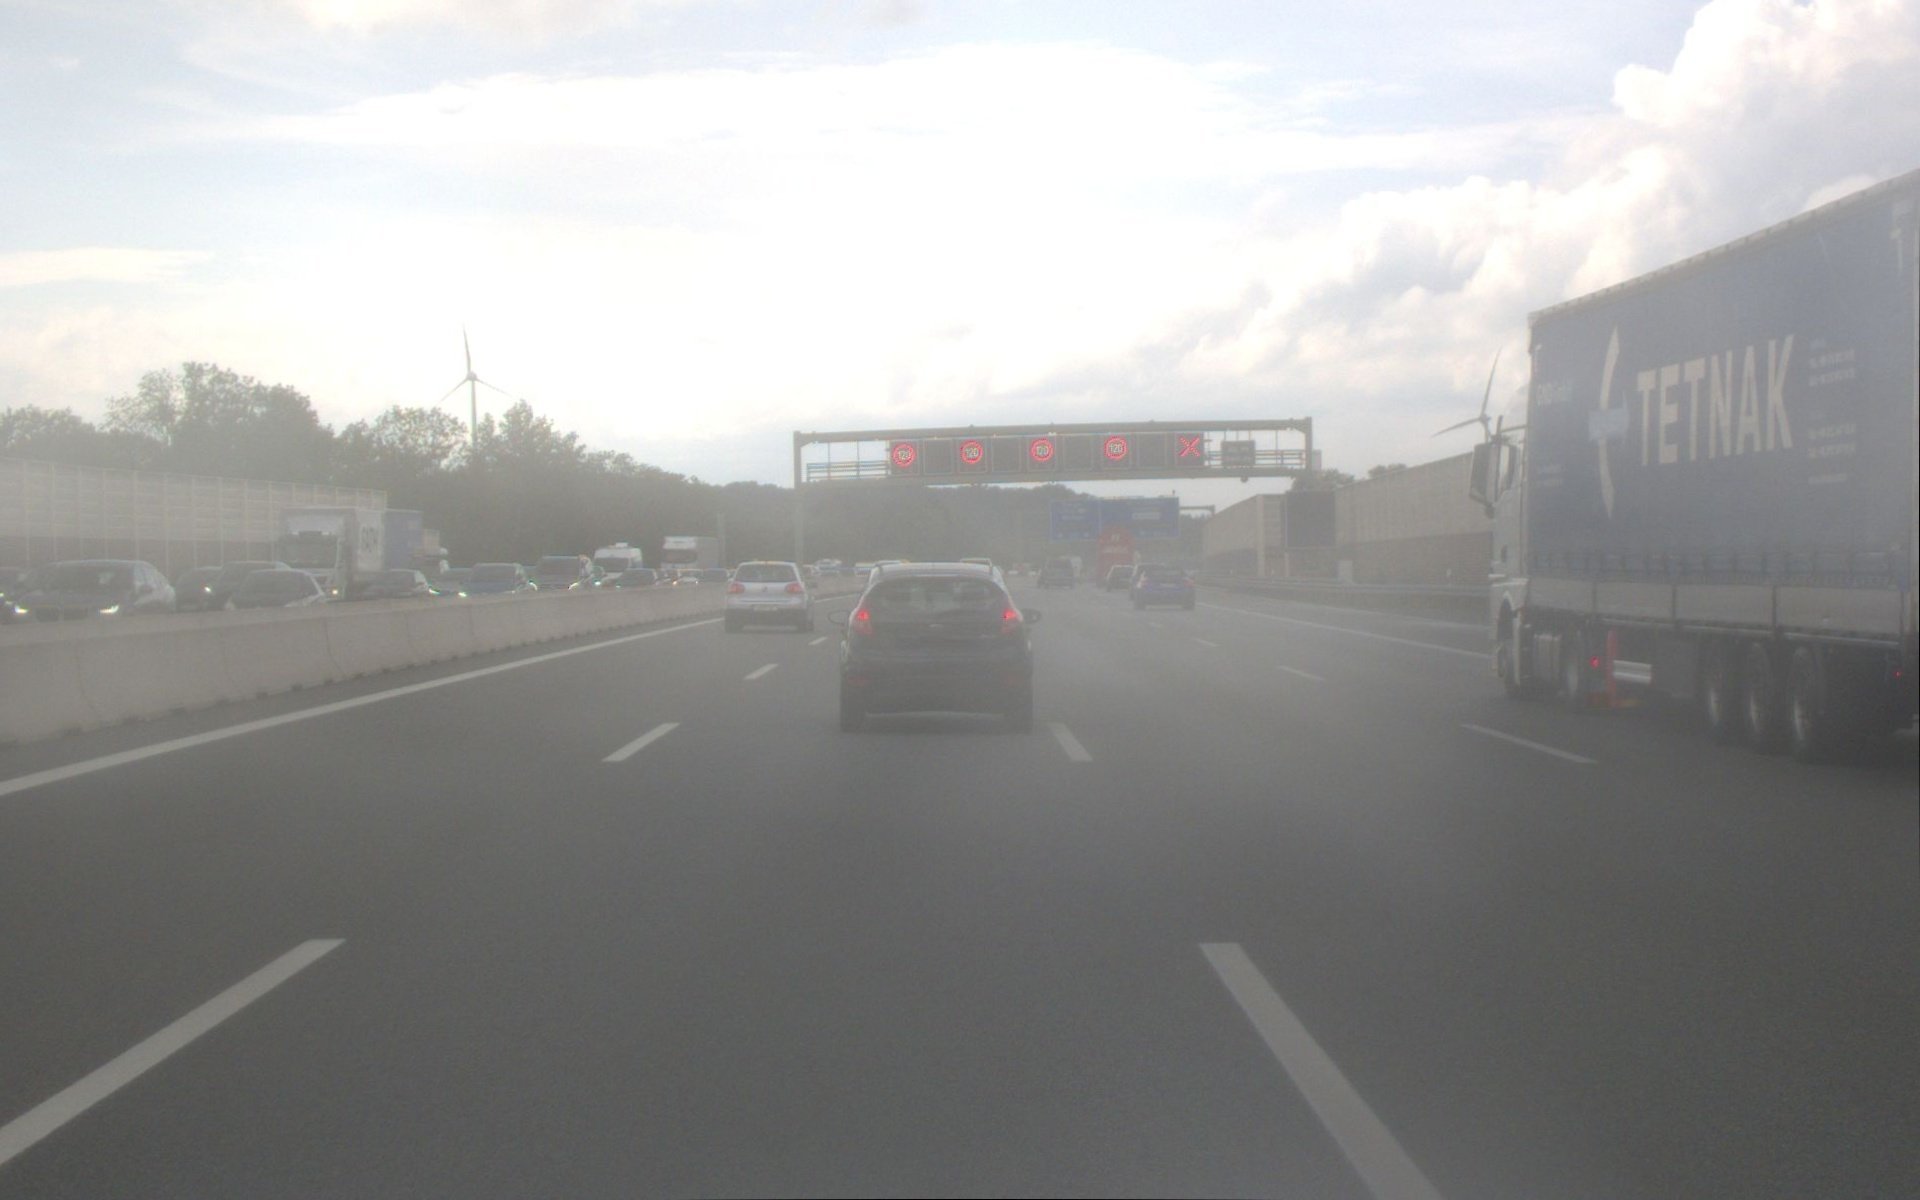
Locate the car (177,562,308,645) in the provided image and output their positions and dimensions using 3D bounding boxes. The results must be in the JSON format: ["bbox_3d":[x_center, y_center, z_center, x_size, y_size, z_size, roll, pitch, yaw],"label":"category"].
[{"bbox_3d":[-15.184,0.054,72.941,1.955,1.694,4.411,0,1,-2],"label":"car"}]

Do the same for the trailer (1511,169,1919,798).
[{"bbox_3d":[7.356,-0.789,29.225,2.761,4.018,14.453,0,0,-1],"label":"trailer"}]

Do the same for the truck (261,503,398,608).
[{"bbox_3d":[-22.166,-1.546,121.408,2.696,3.515,9.995,1,0,1],"label":"truck"}]

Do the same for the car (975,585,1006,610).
[{"bbox_3d":[1.982,-0.127,220.914,1.968,1.555,4.433,0,-1,1],"label":"car"}]

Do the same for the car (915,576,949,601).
[{"bbox_3d":[-1.761,-0.724,220.213,1.968,1.555,4.432,0,-1,2],"label":"car"}]

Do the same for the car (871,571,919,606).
[{"bbox_3d":[-3.024,-0.511,160.701,1.968,1.555,4.432,0,-1,2],"label":"car"}]

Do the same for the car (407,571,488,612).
[{"bbox_3d":[-18.860,-0.311,126.741,2.060,1.486,4.997,0,0,2],"label":"car"}]

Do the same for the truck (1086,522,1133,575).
[{"bbox_3d":[10.606,-3.615,244.062,3.152,3.589,12.698,1,0,2],"label":"truck"}]

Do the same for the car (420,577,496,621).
[{"bbox_3d":[-18.460,-0.031,126.655,2.060,1.594,4.997,0,0,0],"label":"car"}]

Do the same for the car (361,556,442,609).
[{"bbox_3d":[-18.362,-0.601,113.223,1.873,1.694,5.016,0,1,-1],"label":"car"}]

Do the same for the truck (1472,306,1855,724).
[{"bbox_3d":[7.240,-0.843,36.150,2.744,4.021,5.726,0,0,-1],"label":"truck"}]

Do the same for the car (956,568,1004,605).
[{"bbox_3d":[0.918,-0.599,153.555,1.968,1.555,4.432,0,-1,2],"label":"car"}]

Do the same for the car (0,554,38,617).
[{"bbox_3d":[-26.731,-0.407,93.390,2.061,1.694,5.089,0,1,-1],"label":"car"}]

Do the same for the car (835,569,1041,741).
[{"bbox_3d":[-0.248,0.441,30.872,1.717,1.412,4.279,0,1,-2],"label":"car"}]

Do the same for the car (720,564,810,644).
[{"bbox_3d":[-4.084,0.062,72.524,1.717,1.618,4.279,0,1,-1],"label":"car"}]

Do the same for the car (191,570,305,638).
[{"bbox_3d":[-18.584,0.089,89.925,2.061,1.694,5.089,0,1,-2],"label":"car"}]

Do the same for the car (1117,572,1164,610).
[{"bbox_3d":[7.636,-0.367,145.777,1.882,1.537,4.432,0,-1,2],"label":"car"}]

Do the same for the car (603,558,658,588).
[{"bbox_3d":[-16.398,-1.331,171.273,2.060,1.486,4.997,0,0,2],"label":"car"}]

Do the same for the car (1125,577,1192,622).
[{"bbox_3d":[6.407,0.001,111.268,1.950,1.413,4.232,0,0,0],"label":"car"}]

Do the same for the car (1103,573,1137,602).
[{"bbox_3d":[9.006,-0.689,193.340,1.883,1.555,4.432,0,-1,2],"label":"car"}]

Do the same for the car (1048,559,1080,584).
[{"bbox_3d":[6.688,-1.820,221.030,1.968,1.555,4.432,0,-1,3],"label":"car"}]

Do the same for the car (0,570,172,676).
[{"bbox_3d":[-14.818,0.351,58.189,1.955,1.694,4.893,0,1,-2],"label":"car"}]

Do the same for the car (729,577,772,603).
[{"bbox_3d":[-12.335,-0.590,202.717,2.060,1.486,4.997,0,0,2],"label":"car"}]

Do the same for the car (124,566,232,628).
[{"bbox_3d":[-22.306,-0.108,98.290,2.061,1.694,5.089,0,1,-2],"label":"car"}]
